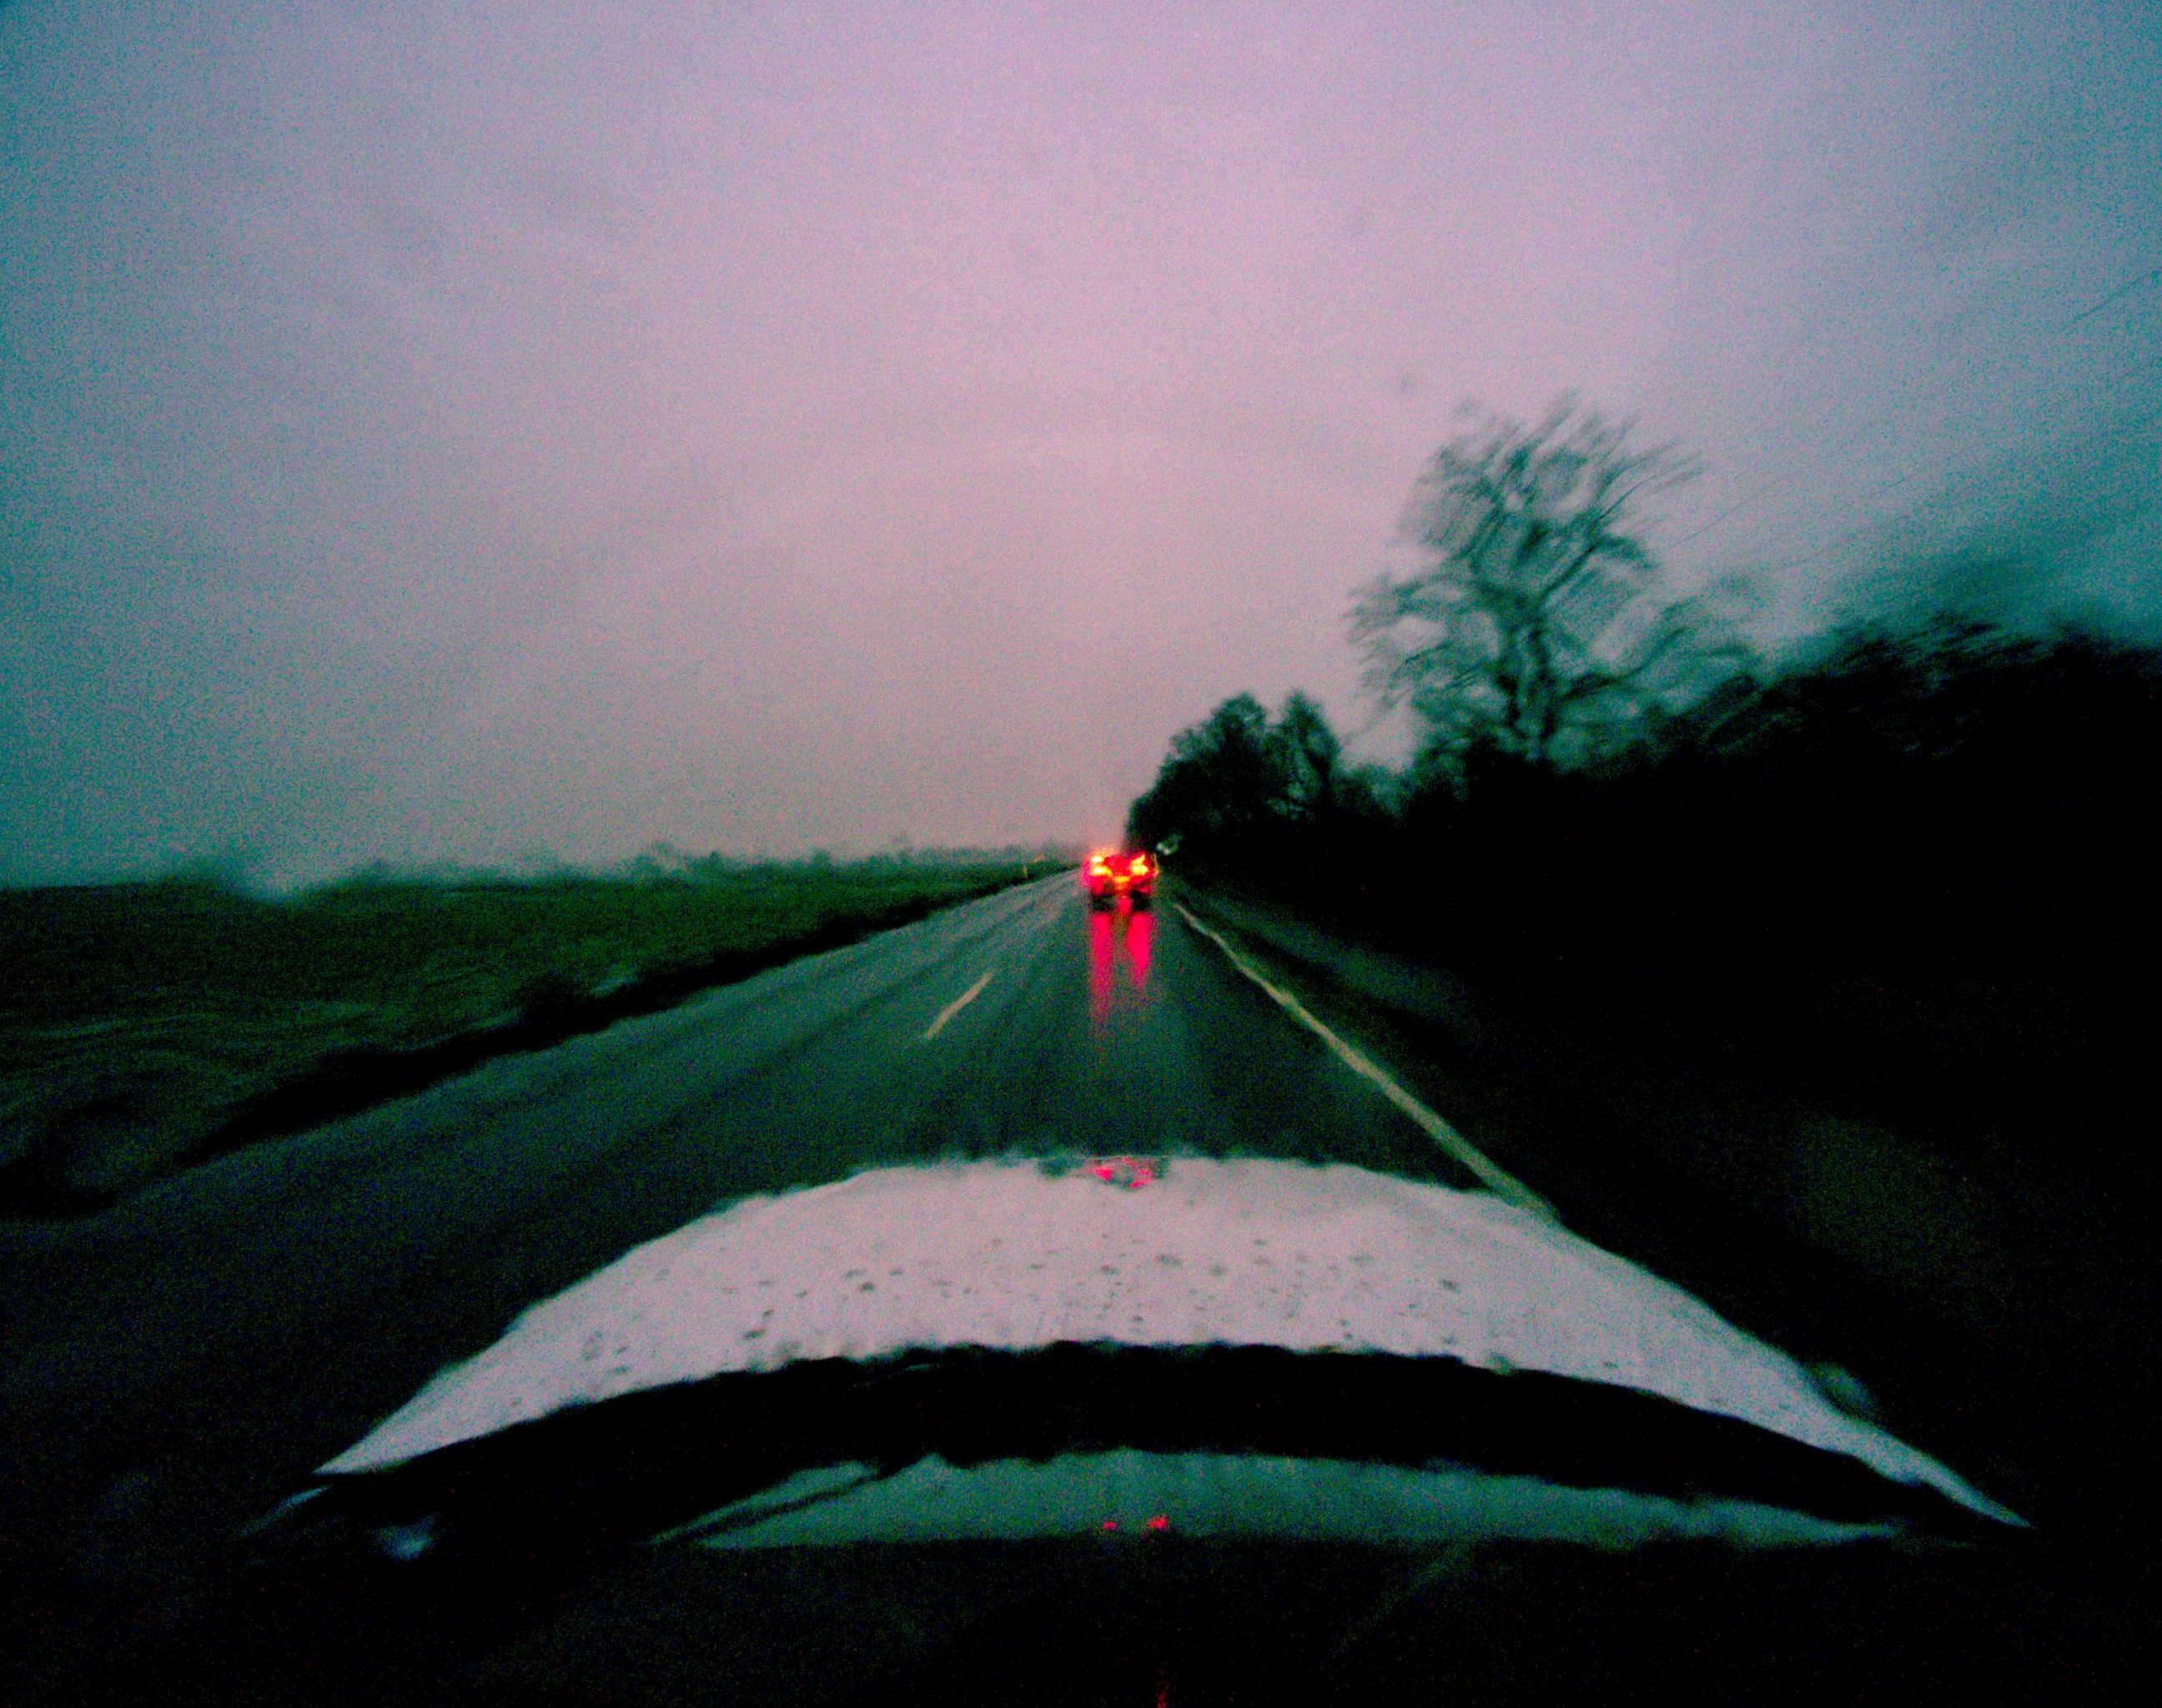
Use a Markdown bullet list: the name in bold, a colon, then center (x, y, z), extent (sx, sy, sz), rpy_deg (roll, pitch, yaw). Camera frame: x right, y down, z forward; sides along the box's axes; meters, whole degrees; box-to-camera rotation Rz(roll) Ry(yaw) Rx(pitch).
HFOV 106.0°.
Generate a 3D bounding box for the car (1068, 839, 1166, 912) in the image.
- **car**: center (1.184, 0.644, 26.396), extent (2.809, 2.077, 5.808), rpy_deg (0, 0, 3)

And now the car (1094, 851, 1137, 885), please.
- **car**: center (2.207, 0.841, 51.387), extent (2.581, 2.014, 5.808), rpy_deg (0, 0, 3)
